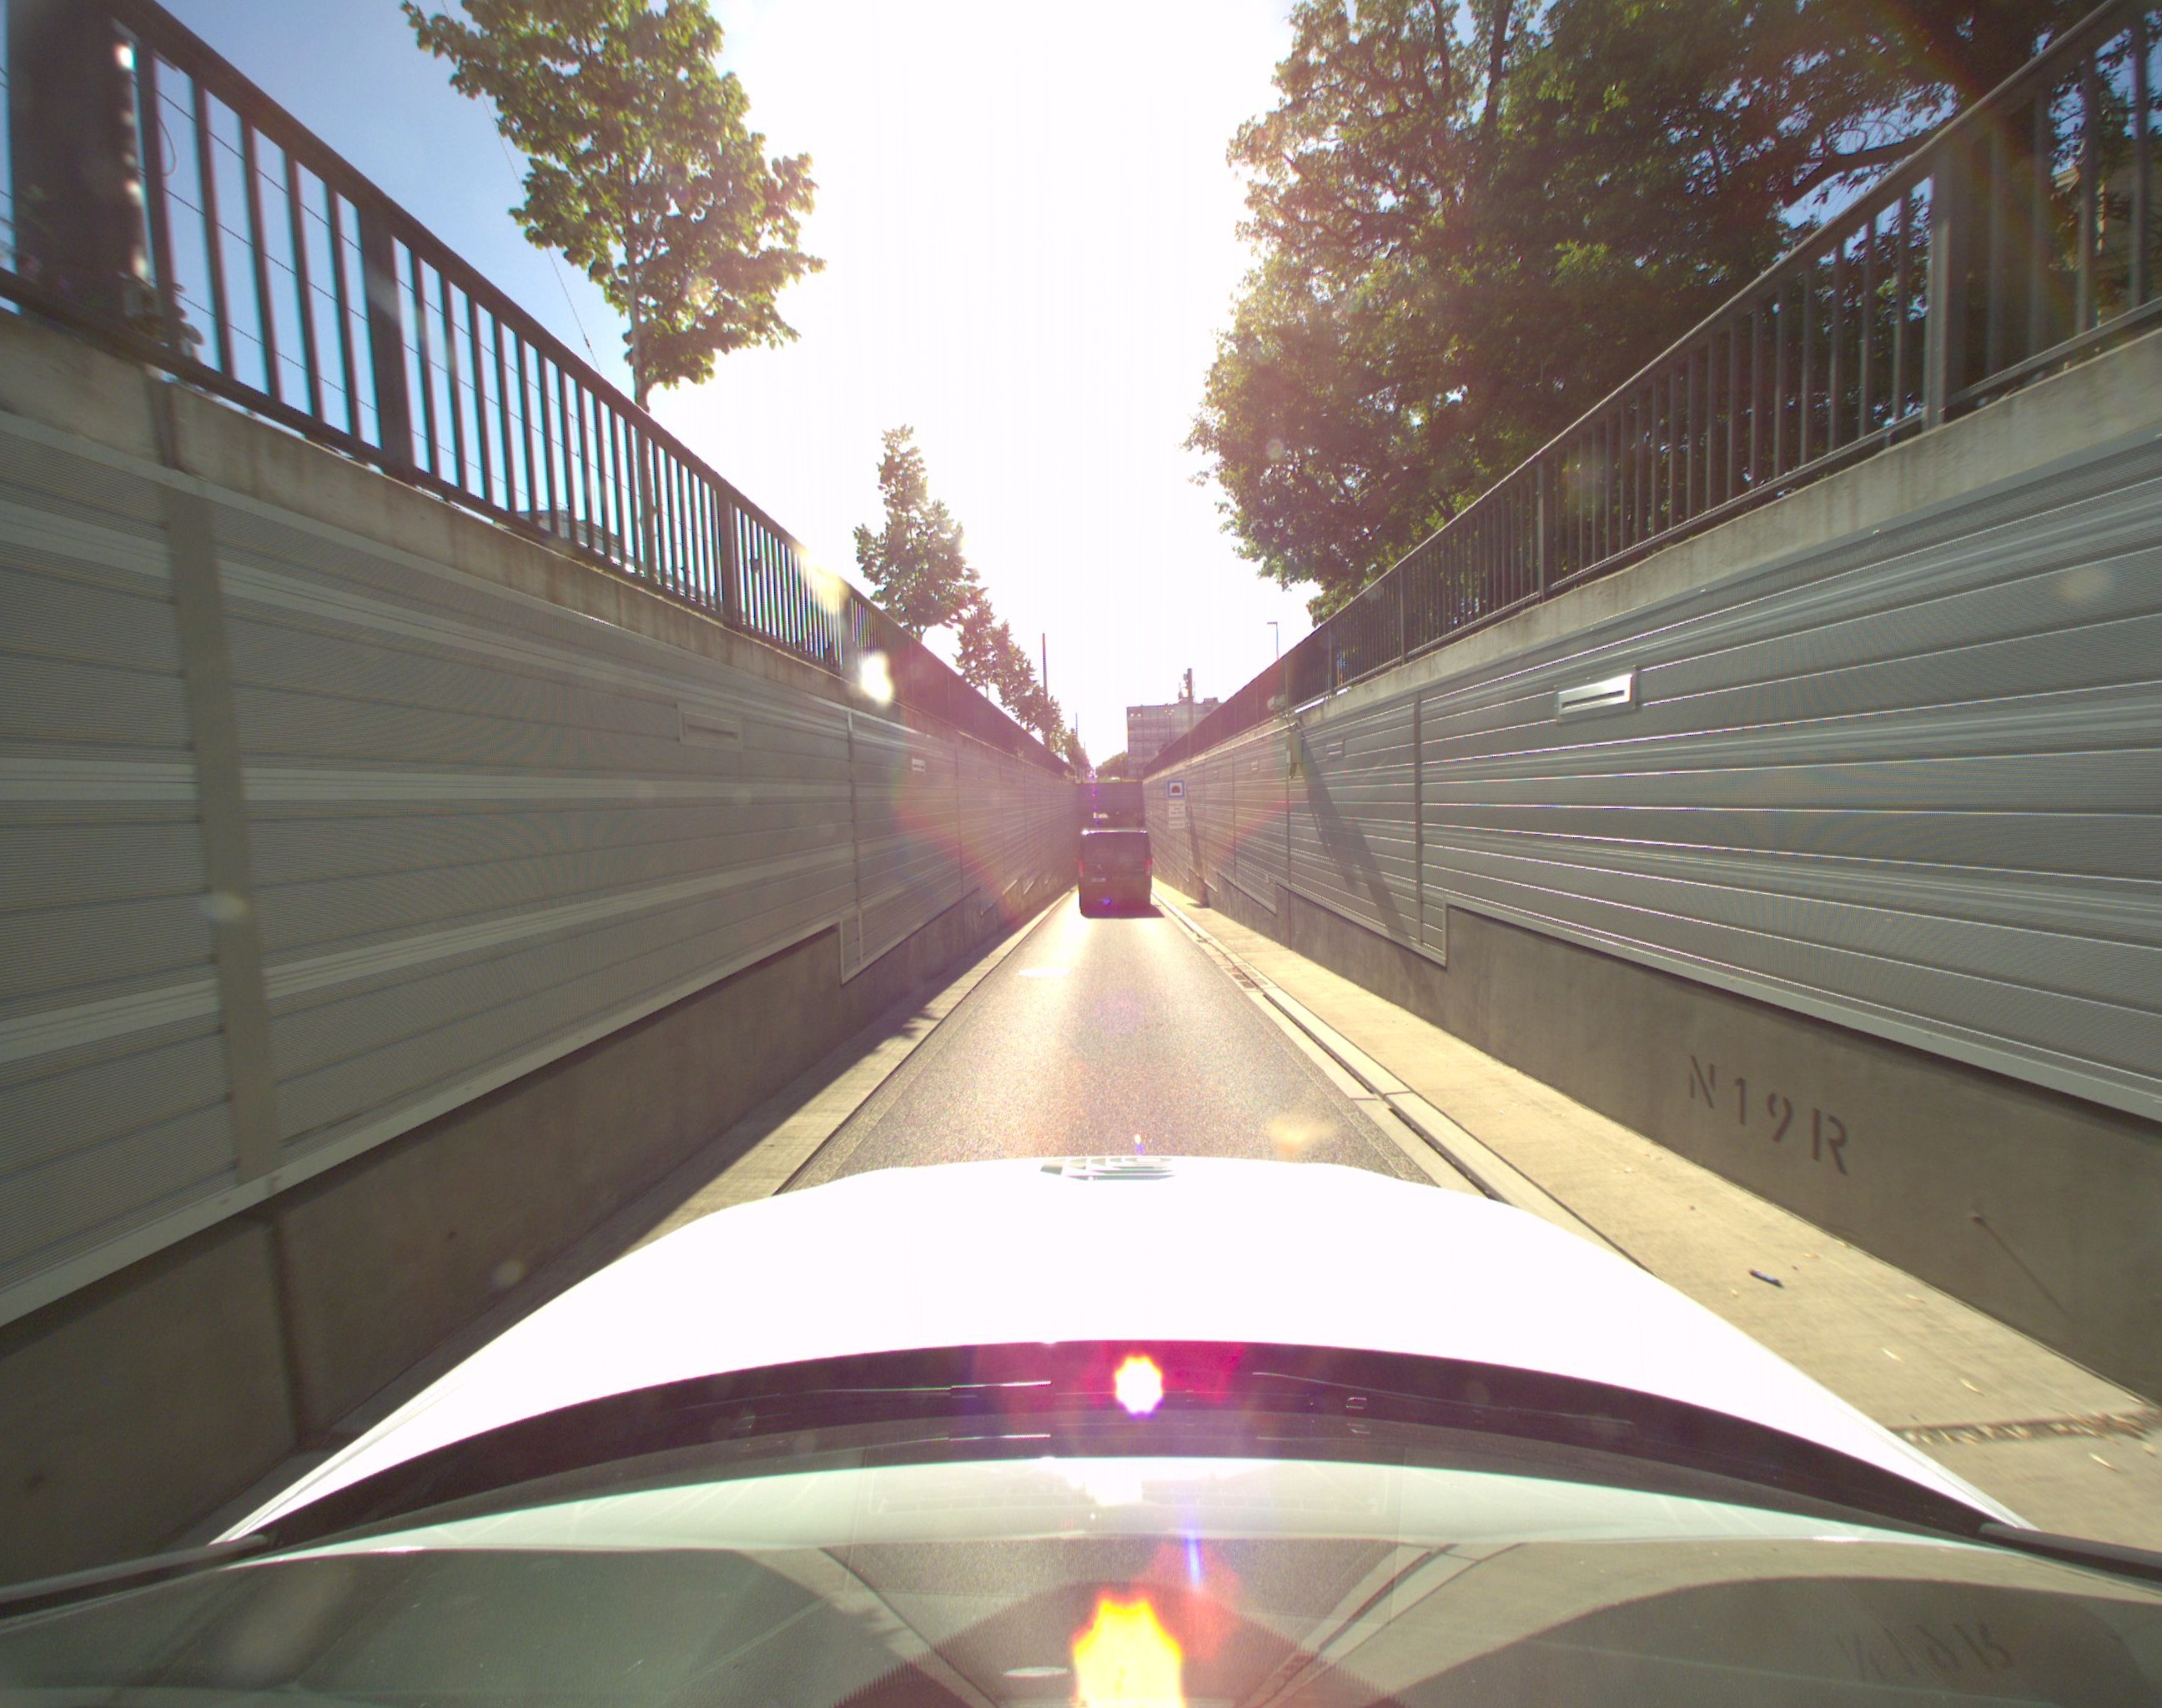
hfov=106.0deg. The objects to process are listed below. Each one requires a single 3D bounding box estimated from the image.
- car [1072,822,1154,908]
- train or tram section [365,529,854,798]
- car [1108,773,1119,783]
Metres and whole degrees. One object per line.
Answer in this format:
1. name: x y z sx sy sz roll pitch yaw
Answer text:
1. car: 0.972 0.296 24.275 2.150 2.266 4.639 -1 0 2
2. train or tram section: -8.500 -3.125 18.178 2.600 3.654 13.354 0 3 2
3. car: 5.289 -12.346 132.607 1.734 1.561 4.002 -2 4 1
